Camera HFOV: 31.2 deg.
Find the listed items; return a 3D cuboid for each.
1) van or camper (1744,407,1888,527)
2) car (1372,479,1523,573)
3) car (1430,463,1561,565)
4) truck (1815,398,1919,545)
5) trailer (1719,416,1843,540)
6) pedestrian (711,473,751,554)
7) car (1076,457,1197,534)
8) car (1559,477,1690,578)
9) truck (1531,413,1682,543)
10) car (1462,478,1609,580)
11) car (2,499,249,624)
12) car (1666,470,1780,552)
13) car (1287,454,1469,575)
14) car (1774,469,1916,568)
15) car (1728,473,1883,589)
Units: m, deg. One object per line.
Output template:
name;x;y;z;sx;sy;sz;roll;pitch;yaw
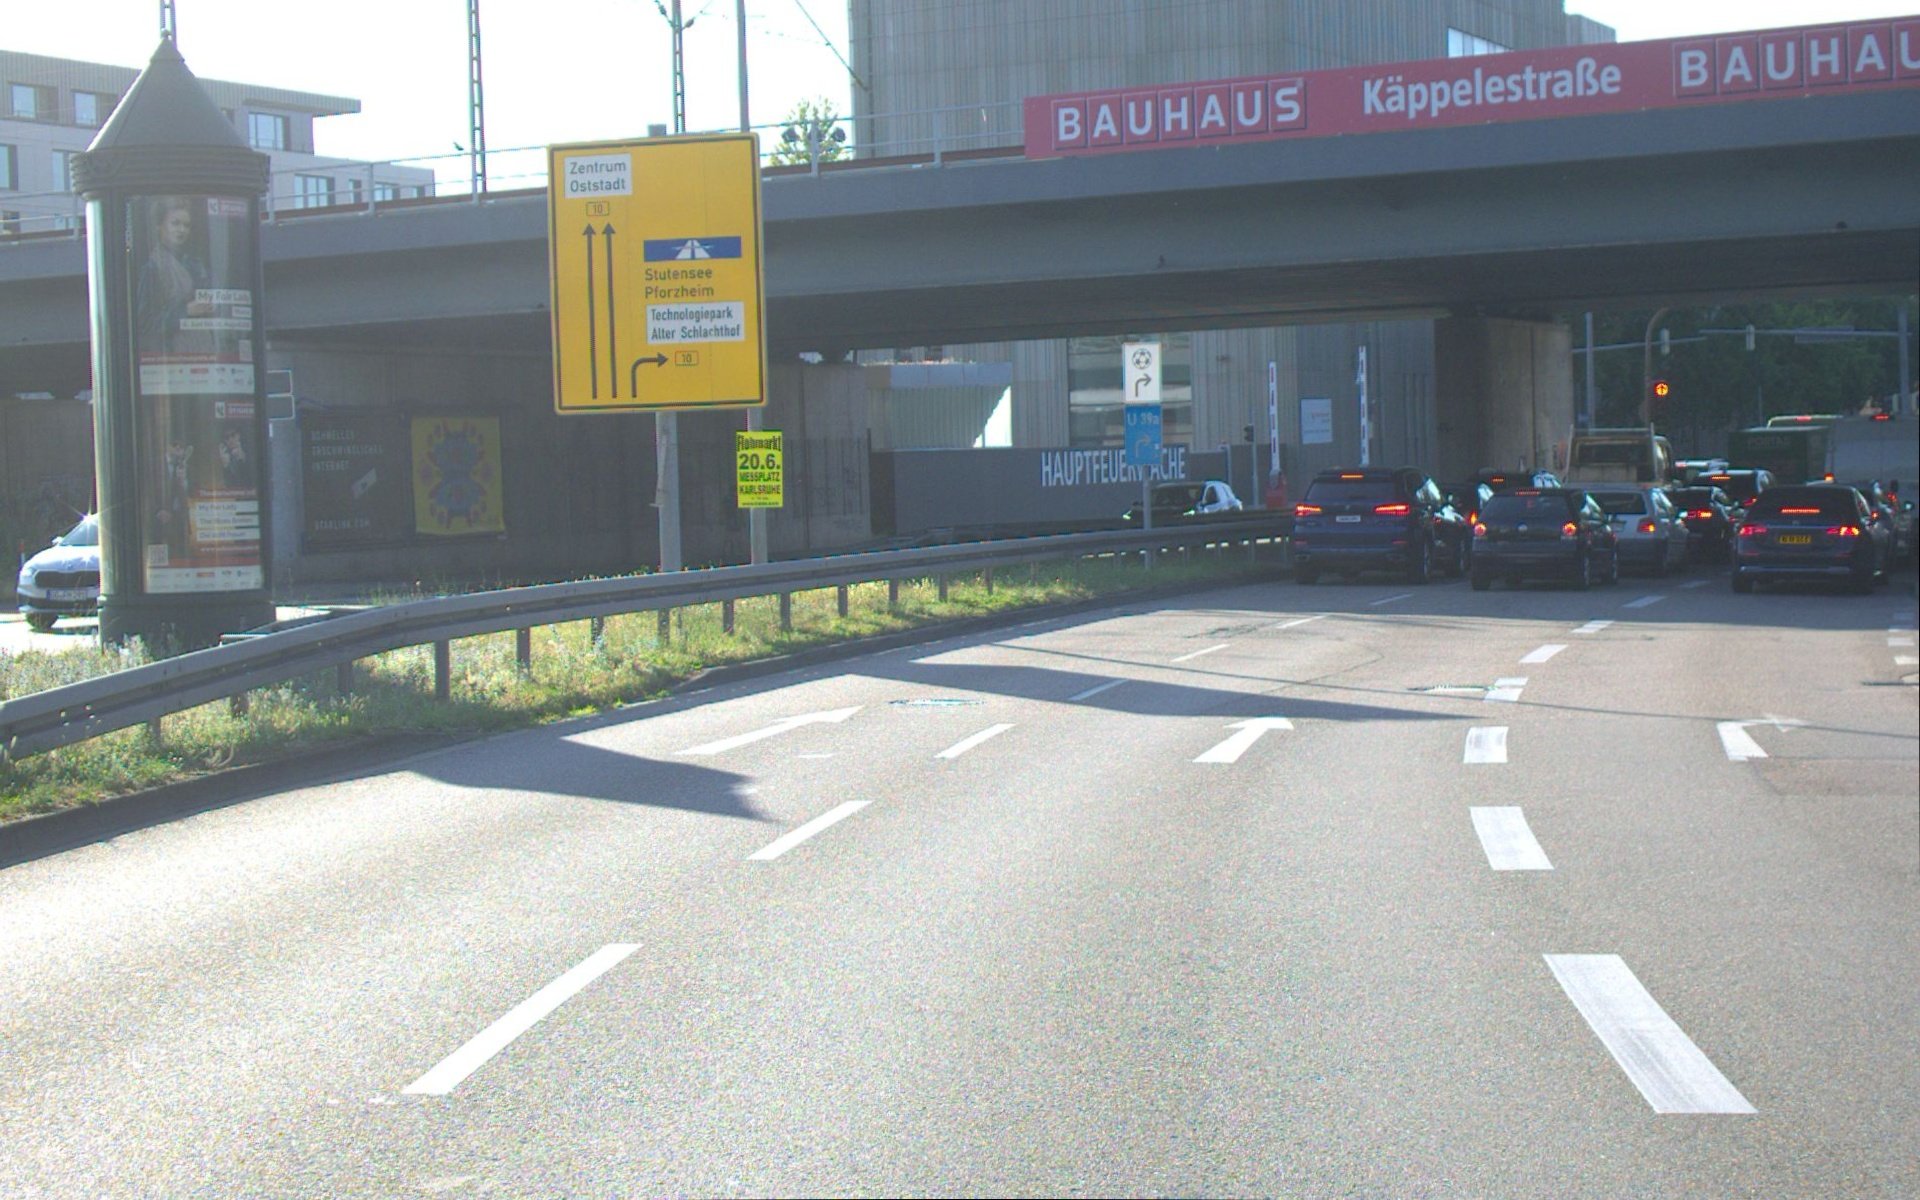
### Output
van or camper;19.183;-2.941;76.826;1.996;2.561;5.910;0;1;25
car;8.306;-1.267;58.339;1.843;1.435;3.672;-4;0;18
car;10.018;-1.598;64.092;1.842;1.713;3.997;-4;0;16
truck;16.909;-2.322;62.535;2.113;2.511;4.397;-2;1;20
trailer;17.181;-2.532;71.825;1.866;2.456;3.827;-2;1;23
pedestrian;-5.425;-2.035;81.299;0.695;1.897;0.664;0;1;23
car;4.084;-2.372;78.828;1.847;1.598;4.392;-4;0;14
car;10.425;-1.162;53.801;1.548;1.418;3.415;-4;1;17
truck;13.406;-2.497;71.005;2.030;2.548;5.531;0;1;22
car;8.243;-1.016;49.029;1.583;1.404;3.829;0;1;17
car;-10.306;-0.480;42.756;1.673;1.457;4.105;-1;1;6
car;14.692;-1.699;66.058;1.583;1.527;3.828;0;1;21
car;6.366;-1.291;51.960;1.831;1.732;4.457;-1;1;19
car;14.297;-1.312;55.428;1.774;1.490;3.828;-2;1;21
car;11.843;-0.994;47.979;1.742;1.449;4.602;0;3;18
